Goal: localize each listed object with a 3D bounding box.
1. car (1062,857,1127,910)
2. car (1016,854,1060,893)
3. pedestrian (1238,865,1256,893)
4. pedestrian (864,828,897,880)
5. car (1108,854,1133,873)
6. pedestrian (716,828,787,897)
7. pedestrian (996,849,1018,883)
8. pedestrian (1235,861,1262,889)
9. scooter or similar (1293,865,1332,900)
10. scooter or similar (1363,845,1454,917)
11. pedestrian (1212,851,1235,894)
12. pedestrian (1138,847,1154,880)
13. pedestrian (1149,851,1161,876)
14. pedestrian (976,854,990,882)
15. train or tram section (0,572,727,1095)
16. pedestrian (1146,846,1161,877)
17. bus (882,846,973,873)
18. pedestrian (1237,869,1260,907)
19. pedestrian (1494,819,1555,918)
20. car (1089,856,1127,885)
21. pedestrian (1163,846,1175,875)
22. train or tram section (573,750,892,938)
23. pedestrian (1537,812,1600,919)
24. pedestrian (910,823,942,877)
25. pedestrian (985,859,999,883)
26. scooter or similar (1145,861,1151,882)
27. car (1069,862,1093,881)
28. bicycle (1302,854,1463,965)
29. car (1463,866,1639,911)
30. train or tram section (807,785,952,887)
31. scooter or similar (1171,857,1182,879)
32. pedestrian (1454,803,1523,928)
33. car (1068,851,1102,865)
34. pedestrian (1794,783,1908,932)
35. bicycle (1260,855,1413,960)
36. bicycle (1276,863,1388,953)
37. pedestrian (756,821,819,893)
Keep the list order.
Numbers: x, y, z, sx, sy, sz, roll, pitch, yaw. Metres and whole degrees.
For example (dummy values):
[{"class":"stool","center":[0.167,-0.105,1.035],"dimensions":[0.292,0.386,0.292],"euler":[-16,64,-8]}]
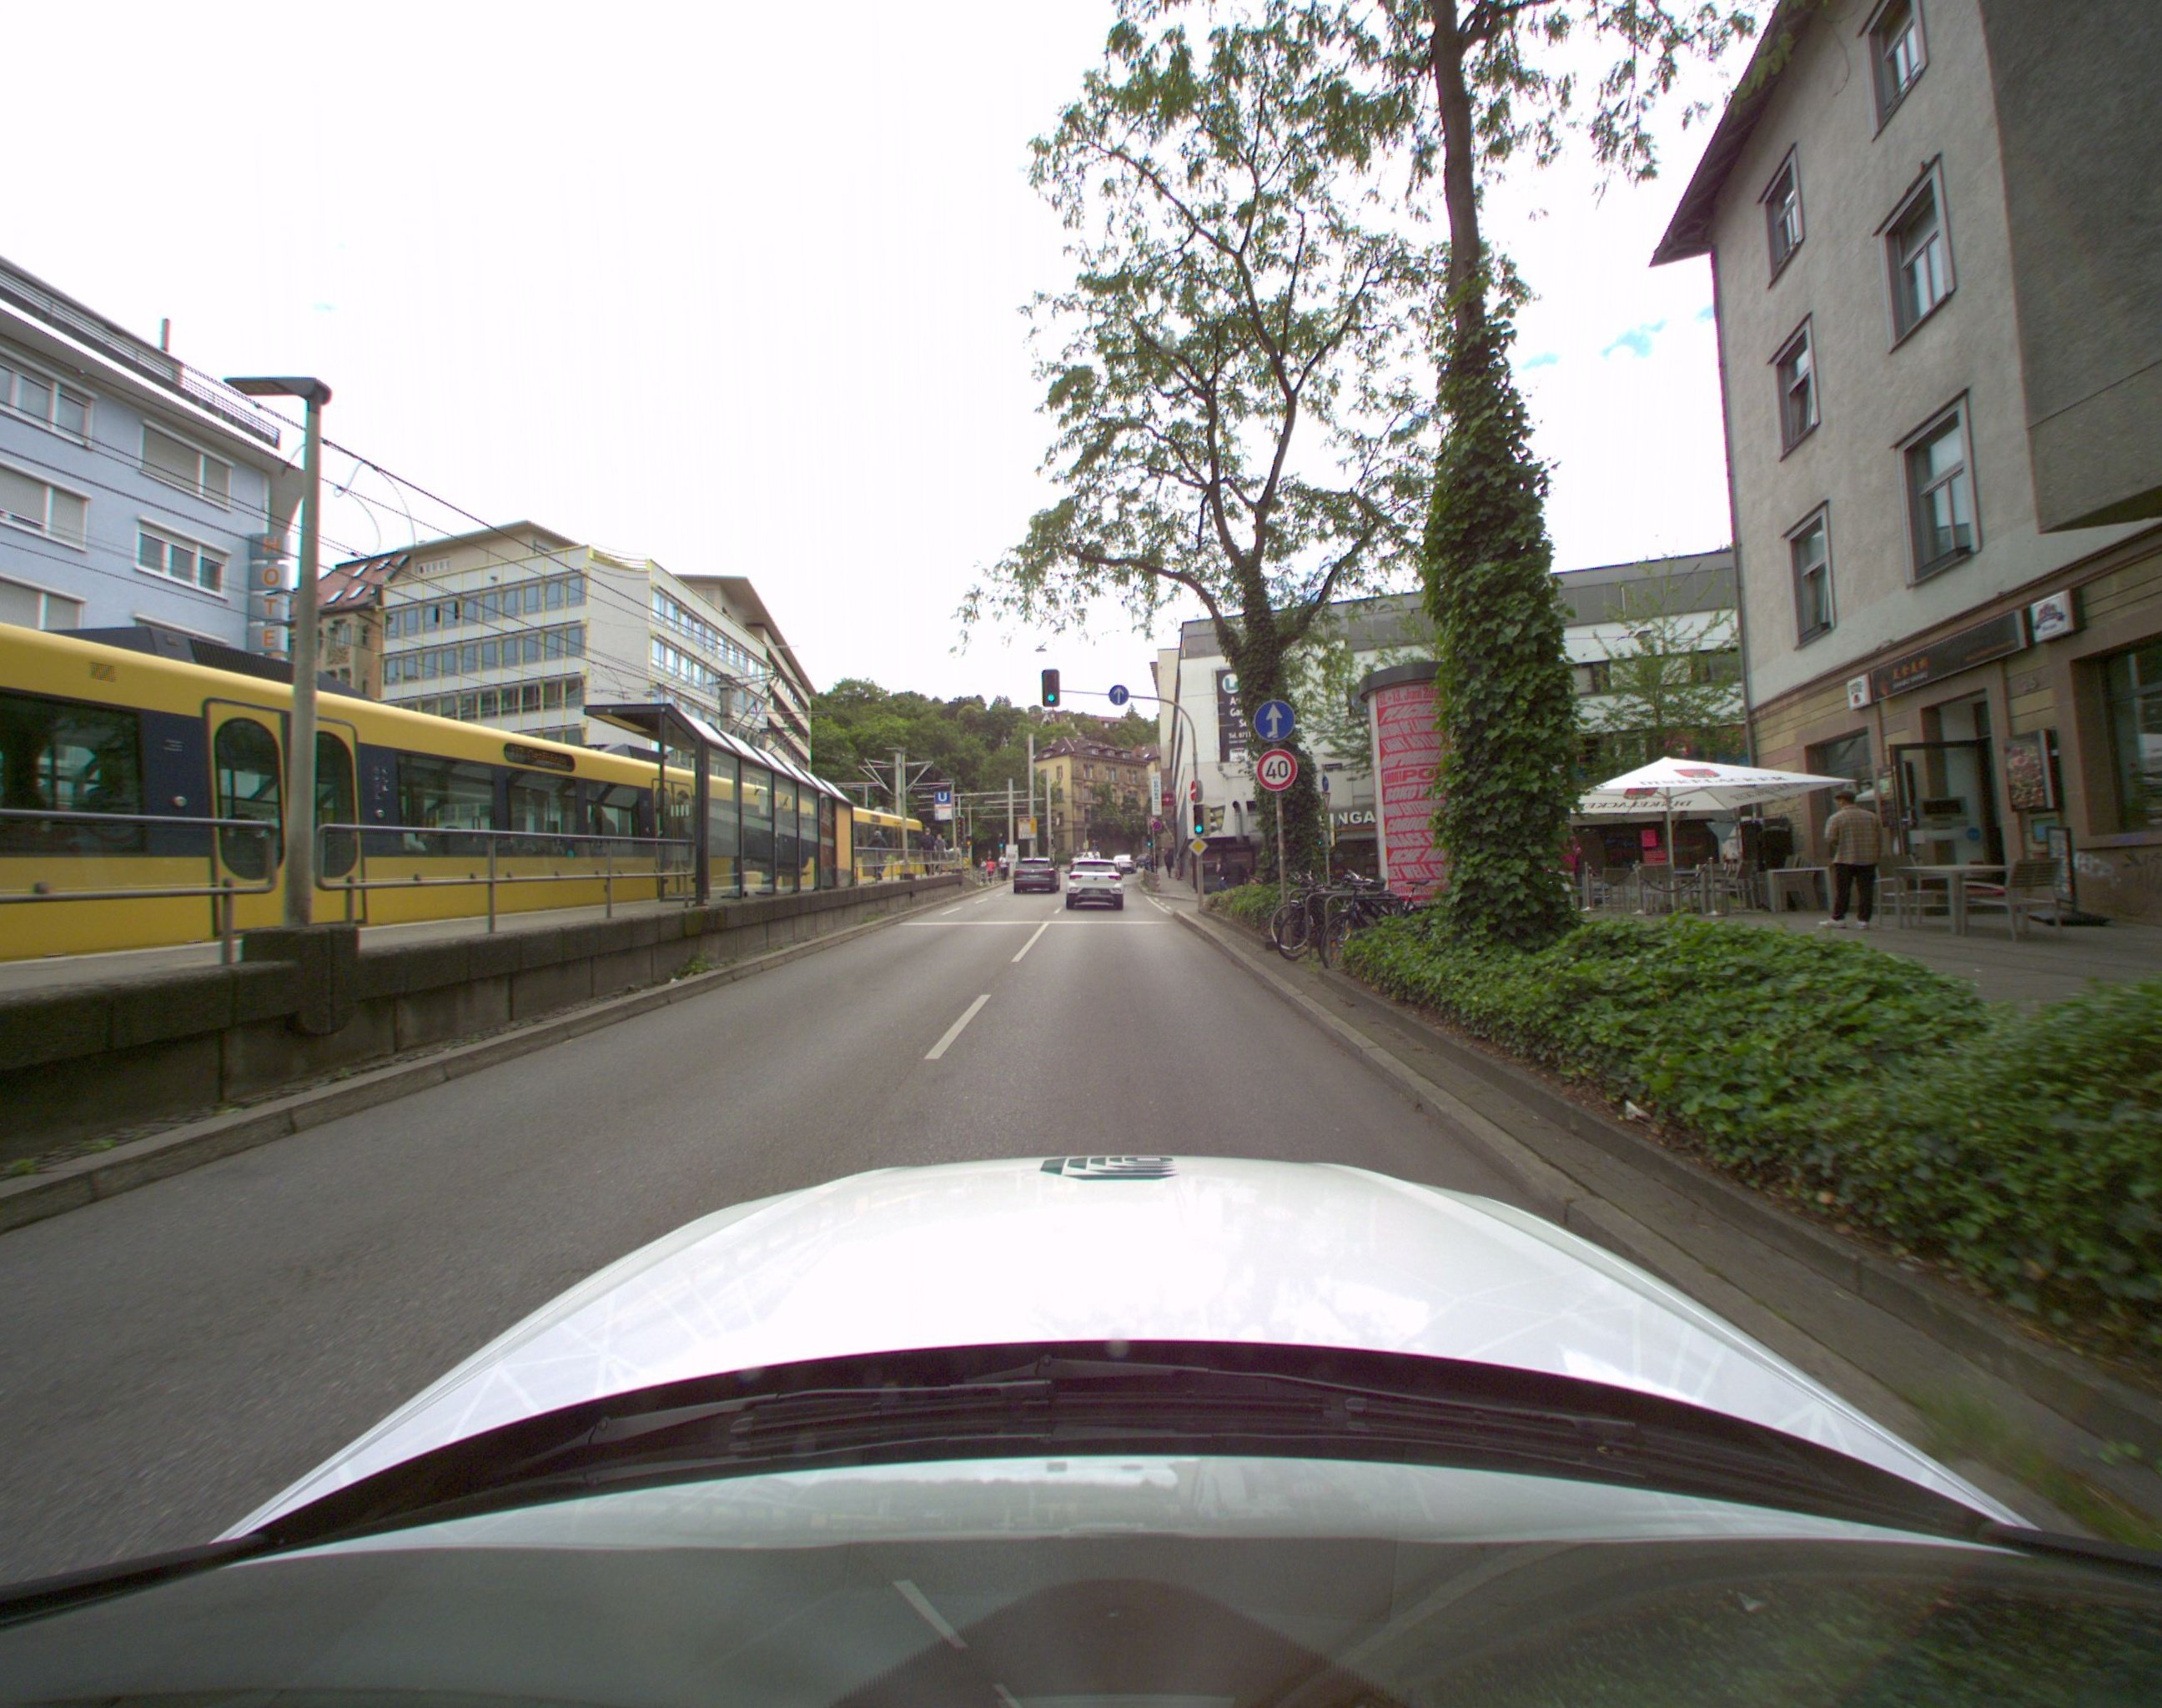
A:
[{"class":"car","center":[0.466,0.878,26.265],"dimensions":[1.931,1.566,4.047],"euler":[0,0,2]},{"class":"car","center":[-2.018,0.888,38.875],"dimensions":[1.833,1.740,4.000],"euler":[-1,0,0]},{"class":"pedestrian","center":[7.461,1.115,36.592],"dimensions":[0.728,1.236,0.721],"euler":[0,-1,18]},{"class":"pedestrian","center":[-6.252,-0.004,25.413],"dimensions":[0.775,1.584,0.665],"euler":[-2,-1,1]},{"class":"car","center":[3.300,0.804,67.484],"dimensions":[1.929,1.506,3.810],"euler":[-1,0,4]},{"class":"pedestrian","center":[-5.787,0.154,14.348],"dimensions":[0.847,1.142,0.779],"euler":[-3,-1,2]},{"class":"pedestrian","center":[-4.724,0.797,51.792],"dimensions":[0.957,2.067,1.037],"euler":[-4,-4,20]},{"class":"pedestrian","center":[7.365,0.915,35.801],"dimensions":[1.097,1.188,0.746],"euler":[0,-1,19]},{"class":"scooter or similar","center":[9.515,1.173,33.525],"dimensions":[1.387,1.349,0.594],"euler":[2,-1,-12]},{"class":"scooter or similar","center":[6.029,0.511,15.016],"dimensions":[1.373,1.254,0.635],"euler":[-4,-3,37]},{"class":"pedestrian","center":[5.969,0.774,34.177],"dimensions":[0.719,1.786,0.882],"euler":[0,-1,-5]},{"class":"pedestrian","center":[4.199,0.616,52.368],"dimensions":[0.942,2.063,0.779],"euler":[-2,-1,5]},{"class":"pedestrian","center":[4.988,0.641,54.789],"dimensions":[0.559,1.651,0.592],"euler":[-8,-1,5]},{"class":"pedestrian","center":[-5.883,0.856,49.019],"dimensions":[0.673,1.625,1.001],"euler":[-2,-1,0]},{"class":"train or tram section","center":[-8.940,-0.129,9.672],"dimensions":[2.872,3.663,14.231],"euler":[-4,1,0]},{"class":"pedestrian","center":[4.536,0.487,51.065],"dimensions":[0.734,1.794,0.655],"euler":[-6,-10,5]},{"class":"bus","center":[-20.465,0.763,108.515],"dimensions":[11.425,3.029,3.404],"euler":[-3,0,15]},{"class":"pedestrian","center":[4.255,0.875,20.706],"dimensions":[0.482,0.911,0.583],"euler":[0,-9,4]},{"class":"pedestrian","center":[6.990,0.223,12.858],"dimensions":[0.620,1.523,0.665],"euler":[-1,-1,7]},{"class":"car","center":[1.591,0.932,46.496],"dimensions":[1.893,1.574,3.841],"euler":[0,-1,6]},{"class":"pedestrian","center":[5.549,0.399,51.209],"dimensions":[0.723,1.808,0.655],"euler":[-1,0,5]},{"class":"train or tram section","center":[-8.836,-0.332,23.913],"dimensions":[2.872,3.663,14.231],"euler":[-4,1,0]},{"class":"pedestrian","center":[7.943,0.187,13.290],"dimensions":[0.620,1.679,0.665],"euler":[-2,-1,7]},{"class":"pedestrian","center":[-5.948,-0.142,31.355],"dimensions":[0.926,1.970,1.233],"euler":[-2,-3,1]},{"class":"pedestrian","center":[-5.668,1.092,51.808],"dimensions":[0.571,1.464,0.679],"euler":[-4,-4,20]},{"class":"scooter or similar","center":[3.998,1.030,48.442],"dimensions":[0.352,1.276,0.814],"euler":[-1,-1,4]},{"class":"car","center":[0.033,1.430,68.195],"dimensions":[1.931,1.506,3.807],"euler":[-1,0,2]},{"class":"bicycle","center":[3.541,0.632,9.623],"dimensions":[1.683,1.221,0.541],"euler":[-2,-1,-4]},{"class":"car","center":[14.683,1.063,25.729],"dimensions":[4.542,1.357,1.769],"euler":[0,-2,17]},{"class":"train or tram section","center":[-8.788,-0.802,38.159],"dimensions":[2.872,3.663,14.476],"euler":[-4,1,0]},{"class":"scooter or similar","center":[5.617,0.817,47.844],"dimensions":[0.424,1.276,0.984],"euler":[-2,0,15]},{"class":"pedestrian","center":[6.380,0.182,12.781],"dimensions":[0.701,1.890,0.882],"euler":[-1,-1,7]},{"class":"car","center":[0.614,0.604,120.142],"dimensions":[5.019,1.850,1.976],"euler":[1,-3,-41]},{"class":"pedestrian","center":[9.912,0.047,10.519],"dimensions":[0.892,1.833,0.740],"euler":[-1,0,29]},{"class":"bicycle","center":[3.234,0.659,10.356],"dimensions":[1.736,1.221,0.541],"euler":[-2,0,-4]},{"class":"bicycle","center":[3.526,0.745,11.482],"dimensions":[1.417,1.222,0.541],"euler":[0,-1,-4]},{"class":"pedestrian","center":[-5.647,0.055,15.683],"dimensions":[0.847,1.306,0.779],"euler":[-3,-1,2]}]
